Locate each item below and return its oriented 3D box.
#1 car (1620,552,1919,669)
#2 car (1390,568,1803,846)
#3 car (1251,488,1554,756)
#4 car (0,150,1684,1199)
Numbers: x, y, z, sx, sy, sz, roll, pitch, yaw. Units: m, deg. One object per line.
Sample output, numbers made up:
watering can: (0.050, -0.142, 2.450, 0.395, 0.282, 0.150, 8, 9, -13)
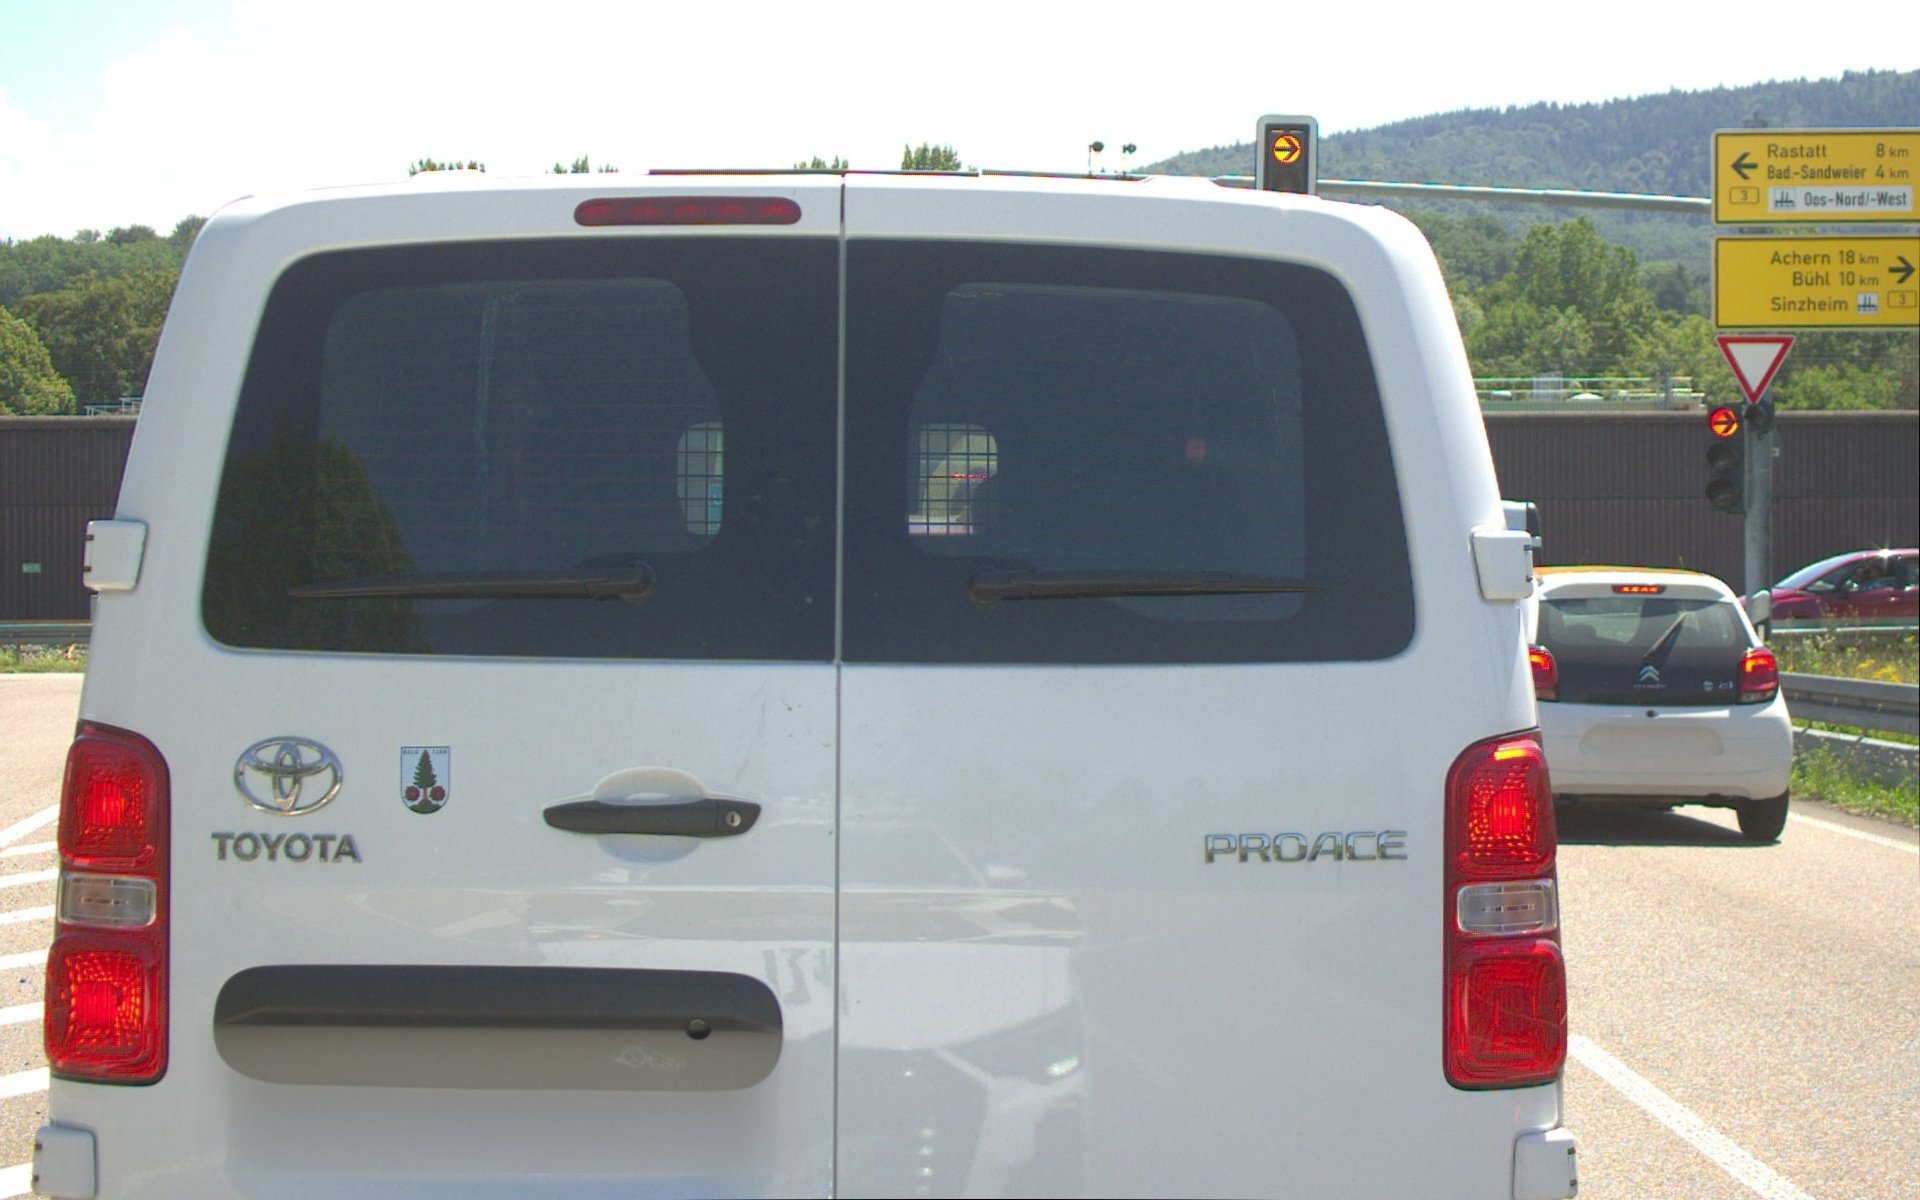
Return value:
car: (11.947, 0.144, 49.840, 4.309, 1.651, 2.000, 0, 1, -3)
car: (3.533, 0.544, 19.635, 1.656, 1.426, 3.366, 1, 1, -1)
car: (3.526, 0.139, 28.216, 1.928, 1.993, 4.837, 1, 1, 1)
car: (-0.221, 0.451, 5.664, 1.886, 1.880, 4.000, 1, 1, -1)
